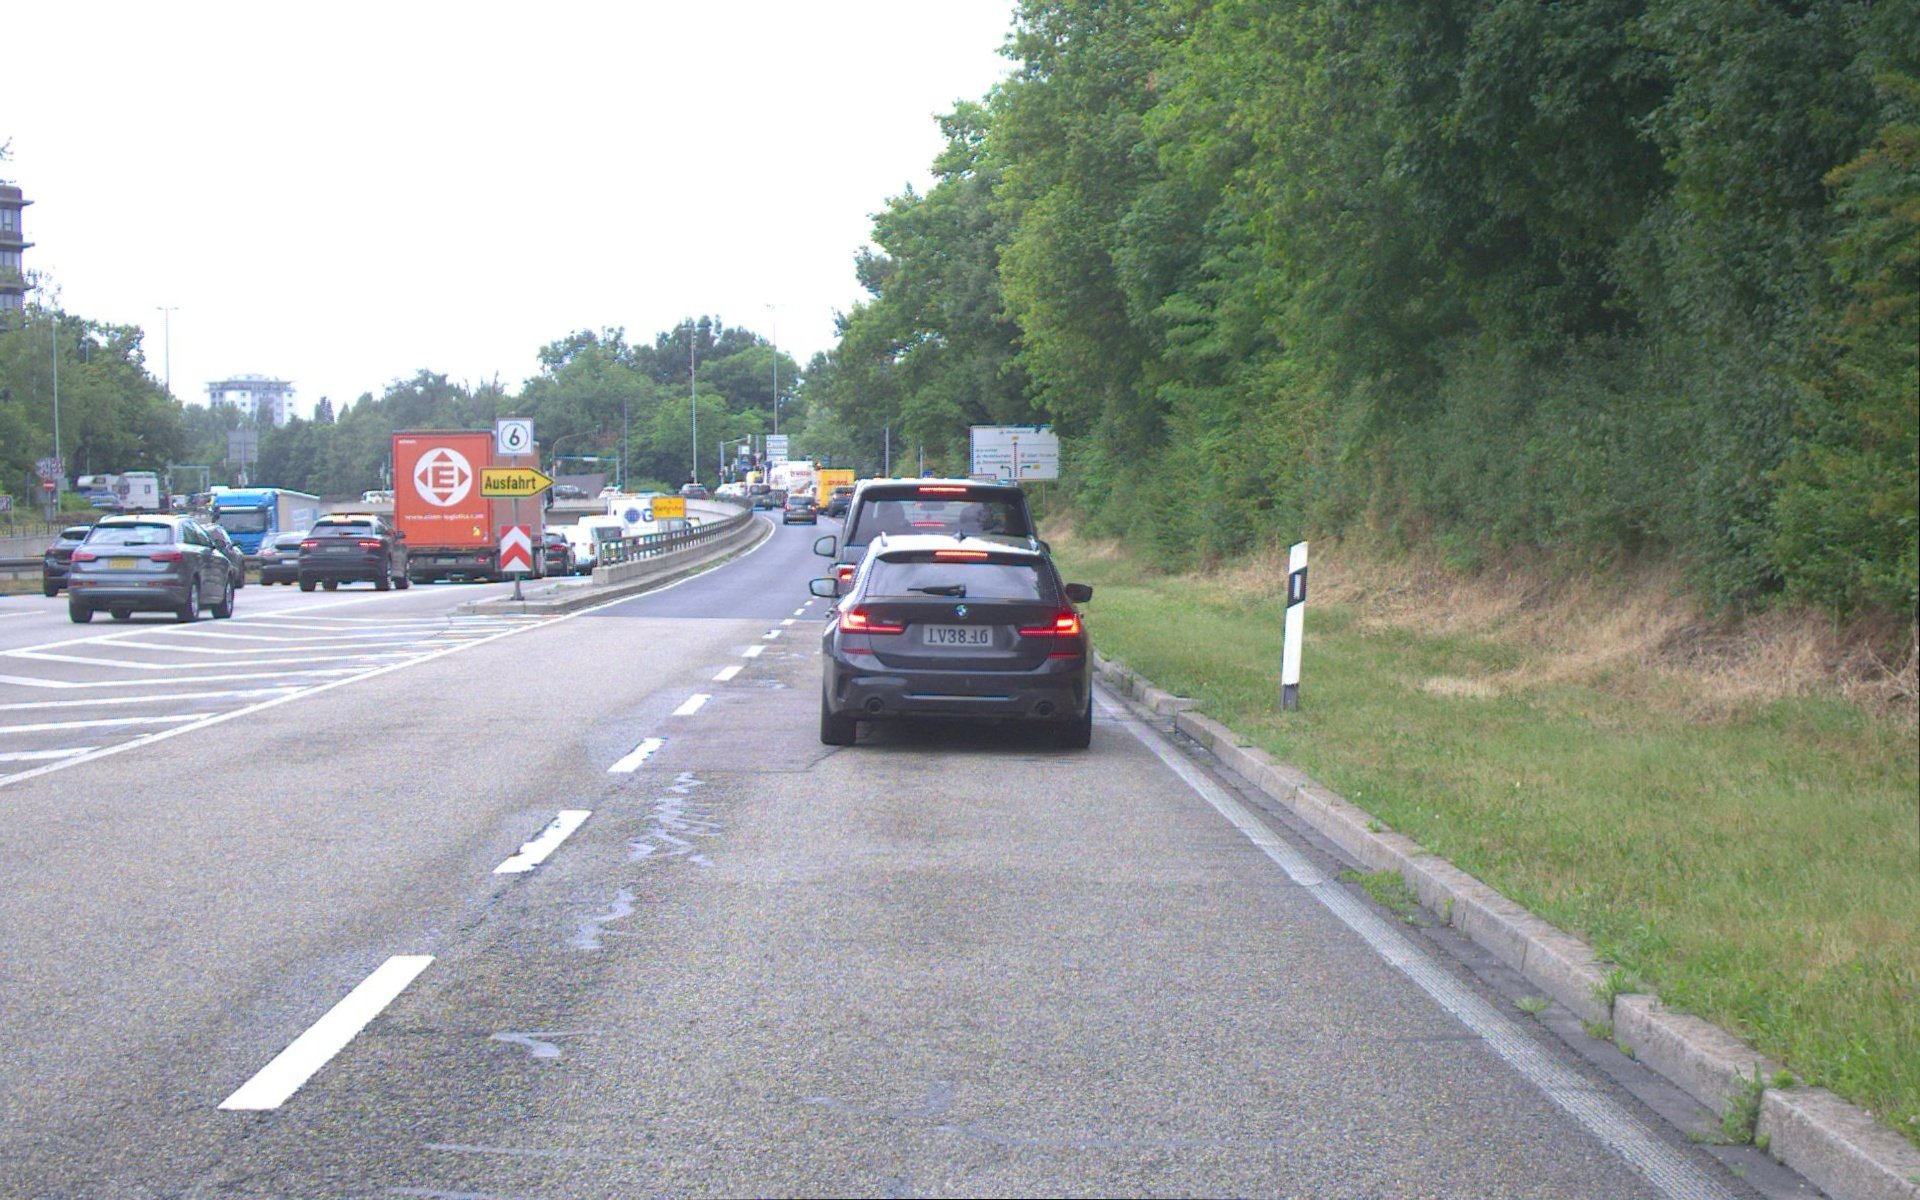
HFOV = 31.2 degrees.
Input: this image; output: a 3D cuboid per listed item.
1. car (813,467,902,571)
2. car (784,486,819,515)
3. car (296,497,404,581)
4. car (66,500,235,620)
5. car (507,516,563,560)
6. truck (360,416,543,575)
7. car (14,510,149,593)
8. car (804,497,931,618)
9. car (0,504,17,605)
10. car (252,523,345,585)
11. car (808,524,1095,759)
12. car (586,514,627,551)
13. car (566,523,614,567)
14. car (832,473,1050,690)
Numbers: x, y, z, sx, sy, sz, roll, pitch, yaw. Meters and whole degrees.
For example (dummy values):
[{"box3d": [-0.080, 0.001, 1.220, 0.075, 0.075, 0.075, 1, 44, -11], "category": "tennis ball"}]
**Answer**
[{"box3d": [-2.066, -1.612, 68.391, 1.604, 2.007, 4.001, 0, 2, -4], "category": "car"}, {"box3d": [-8.395, -5.255, 181.999, 1.825, 1.477, 4.001, 1, 1, -3], "category": "car"}, {"box3d": [-13.767, -1.366, 77.788, 1.860, 1.809, 4.000, 1, 1, -2], "category": "car"}, {"box3d": [-11.988, -0.591, 51.129, 1.717, 1.678, 4.000, 1, 1, -3], "category": "car"}, {"box3d": [-14.424, -2.118, 116.790, 1.777, 1.477, 4.001, 0, 1, -5], "category": "car"}, {"box3d": [-13.908, -2.855, 95.257, 3.489, 4.059, 13.593, -1, 1, -2], "category": "truck"}, {"box3d": [-18.043, -0.994, 70.791, 1.859, 1.612, 4.000, 1, 1, -2], "category": "car"}, {"box3d": [-1.620, -0.759, 58.892, 1.993, 2.007, 4.001, 0, 2, -4], "category": "car"}, {"box3d": [-17.164, -0.778, 57.694, 1.717, 1.710, 4.000, 1, 1, -3], "category": "car"}, {"box3d": [-17.970, -1.240, 93.486, 1.859, 1.612, 4.000, 1, 1, -2], "category": "car"}, {"box3d": [-0.122, 0.220, 24.031, 1.825, 1.477, 4.001, -1, 1, -2], "category": "car"}, {"box3d": [-14.724, -2.816, 143.235, 1.556, 1.546, 4.001, 0, 1, -4], "category": "car"}, {"box3d": [-13.721, -2.036, 127.627, 1.556, 1.547, 3.819, 1, 1, -4], "category": "car"}, {"box3d": [-0.187, -0.181, 31.232, 1.822, 1.815, 4.000, 1, 1, -1], "category": "car"}]
